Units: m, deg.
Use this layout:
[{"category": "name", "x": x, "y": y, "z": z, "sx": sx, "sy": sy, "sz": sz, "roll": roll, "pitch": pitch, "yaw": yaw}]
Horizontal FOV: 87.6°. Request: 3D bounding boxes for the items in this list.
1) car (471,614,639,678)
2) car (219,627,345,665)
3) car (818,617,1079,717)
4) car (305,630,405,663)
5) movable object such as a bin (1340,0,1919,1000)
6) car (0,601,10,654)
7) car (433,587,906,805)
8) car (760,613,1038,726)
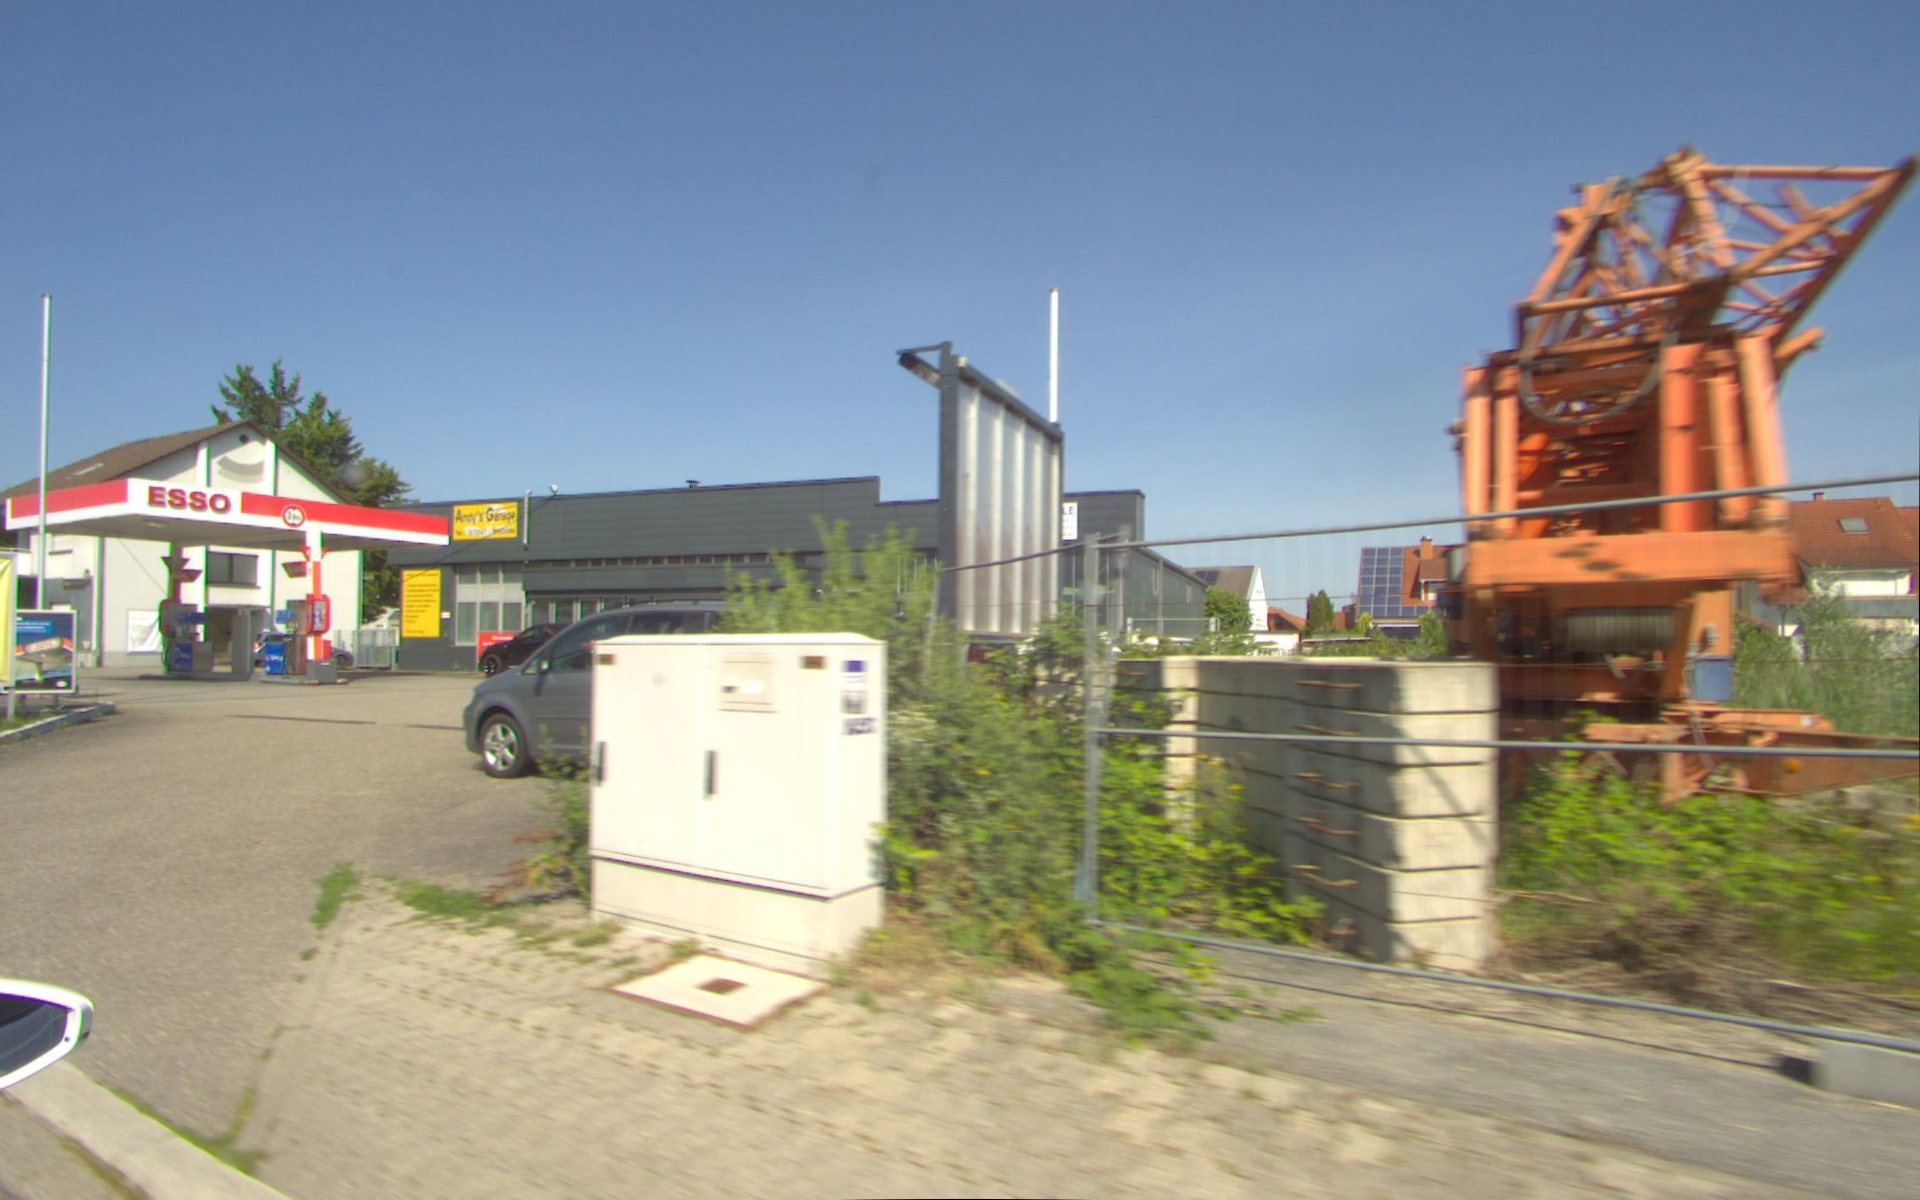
[{"category": "car", "x": -12.411, "y": 1.394, "z": 30.692, "sx": 4.733, "sy": 1.763, "sz": 1.808, "roll": 1, "pitch": -2, "yaw": 19}, {"category": "car", "x": -28.359, "y": 1.917, "z": 42.016, "sx": 1.782, "sy": 1.498, "sz": 4.063, "roll": -1, "pitch": -2, "yaw": 25}, {"category": "car", "x": -0.196, "y": 1.156, "z": 17.982, "sx": 4.266, "sy": 1.612, "sz": 2.000, "roll": -1, "pitch": -2, "yaw": 23}, {"category": "car", "x": -29.676, "y": 2.317, "z": 49.138, "sx": 4.027, "sy": 1.497, "sz": 1.800, "roll": 4, "pitch": -5, "yaw": -36}, {"category": "movable object such as a bin", "x": 6.741, "y": -0.316, "z": 11.062, "sx": 2.731, "sy": 4.069, "sz": 16.044, "roll": 0, "pitch": -2, "yaw": 28}, {"category": "car", "x": -38.261, "y": 1.008, "z": 36.433, "sx": 2.188, "sy": 2.039, "sz": 5.288, "roll": 0, "pitch": -2, "yaw": 3}, {"category": "car", "x": -2.839, "y": 0.759, "z": 9.689, "sx": 4.297, "sy": 1.708, "sz": 1.804, "roll": 1, "pitch": 0, "yaw": 25}, {"category": "car", "x": -0.968, "y": 1.059, "z": 15.959, "sx": 4.037, "sy": 1.612, "sz": 1.843, "roll": -1, "pitch": -2, "yaw": 23}]
